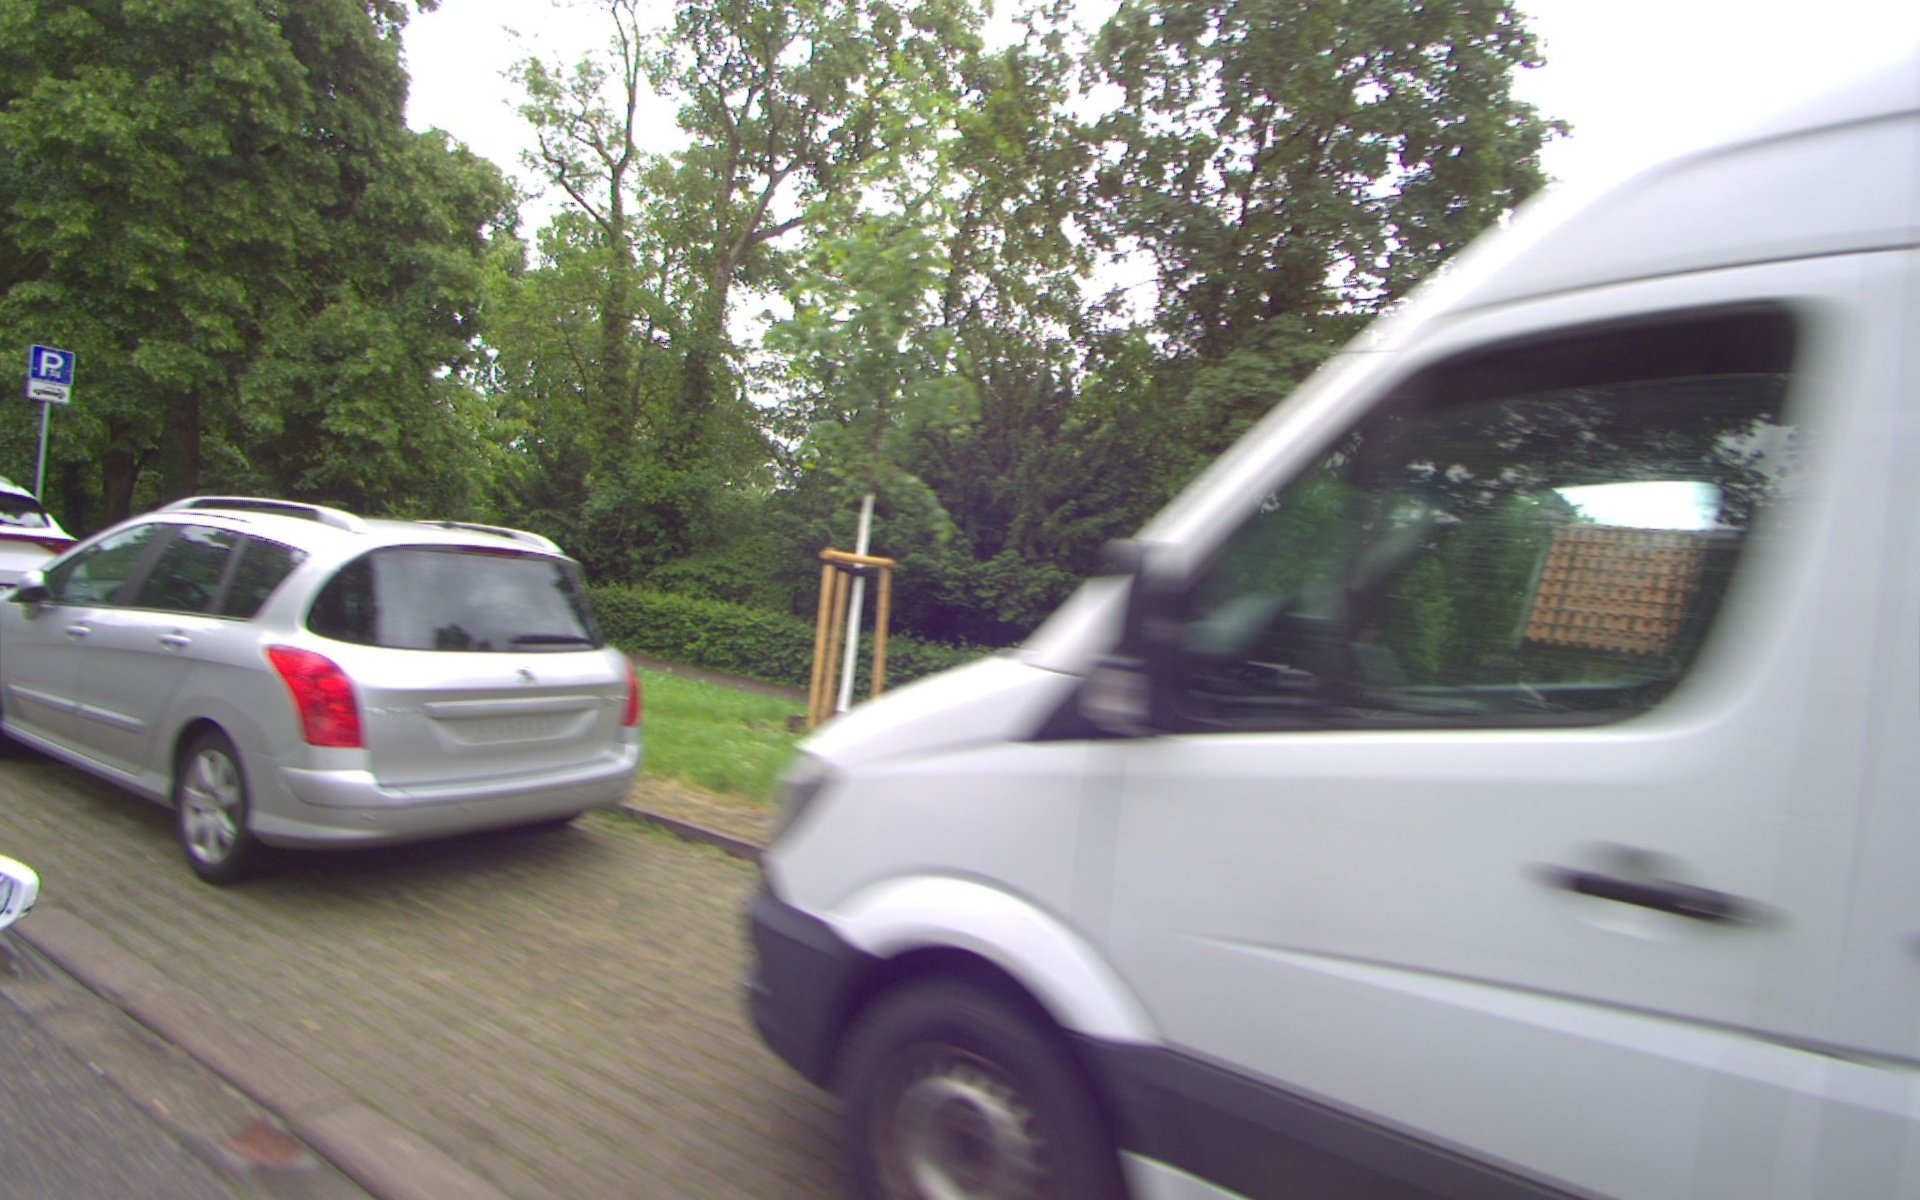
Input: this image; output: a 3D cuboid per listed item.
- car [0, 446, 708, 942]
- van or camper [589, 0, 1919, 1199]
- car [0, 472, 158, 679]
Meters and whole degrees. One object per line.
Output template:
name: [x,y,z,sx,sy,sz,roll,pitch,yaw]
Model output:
car: [-3.596,0.202,5.358,4.195,1.558,1.807,9,2,31]
van or camper: [3.219,0.585,1.109,8.295,2.619,2.015,8,4,32]
car: [-8.969,-0.423,8.473,4.490,1.517,1.995,7,1,31]
